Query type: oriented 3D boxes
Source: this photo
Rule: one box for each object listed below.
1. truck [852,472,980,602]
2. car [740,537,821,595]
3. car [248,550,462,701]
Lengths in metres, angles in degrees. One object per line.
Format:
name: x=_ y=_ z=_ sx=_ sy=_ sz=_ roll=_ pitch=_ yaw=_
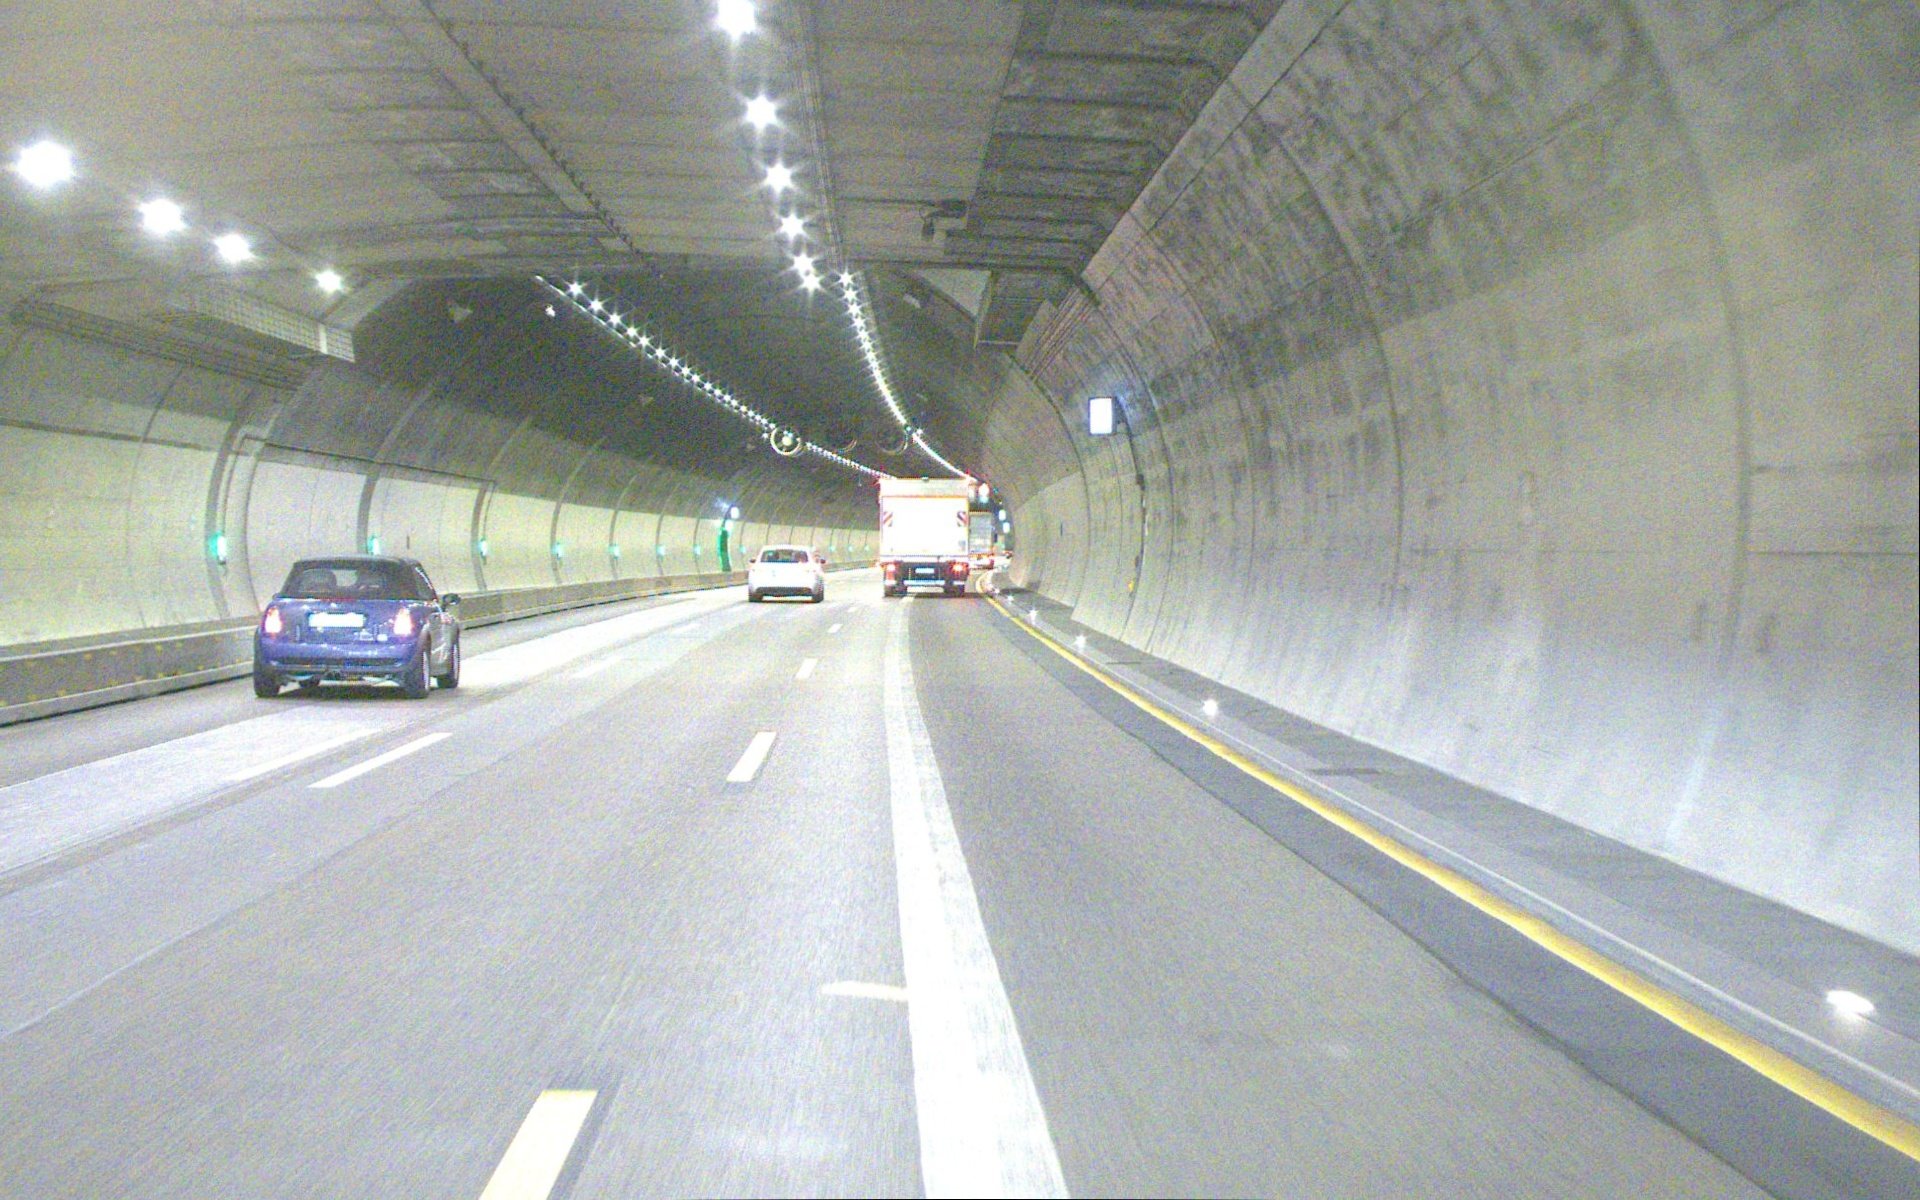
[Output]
truck: x=-1.257 y=-1.895 z=102.668 sx=3.592 sy=3.638 sz=10.723 roll=0 pitch=1 yaw=0
car: x=-4.628 y=-0.888 z=88.122 sx=1.993 sy=1.408 sz=4.743 roll=0 pitch=1 yaw=-4
car: x=-6.068 y=0.212 z=34.824 sx=1.689 sy=1.412 sz=3.923 roll=0 pitch=1 yaw=-3
